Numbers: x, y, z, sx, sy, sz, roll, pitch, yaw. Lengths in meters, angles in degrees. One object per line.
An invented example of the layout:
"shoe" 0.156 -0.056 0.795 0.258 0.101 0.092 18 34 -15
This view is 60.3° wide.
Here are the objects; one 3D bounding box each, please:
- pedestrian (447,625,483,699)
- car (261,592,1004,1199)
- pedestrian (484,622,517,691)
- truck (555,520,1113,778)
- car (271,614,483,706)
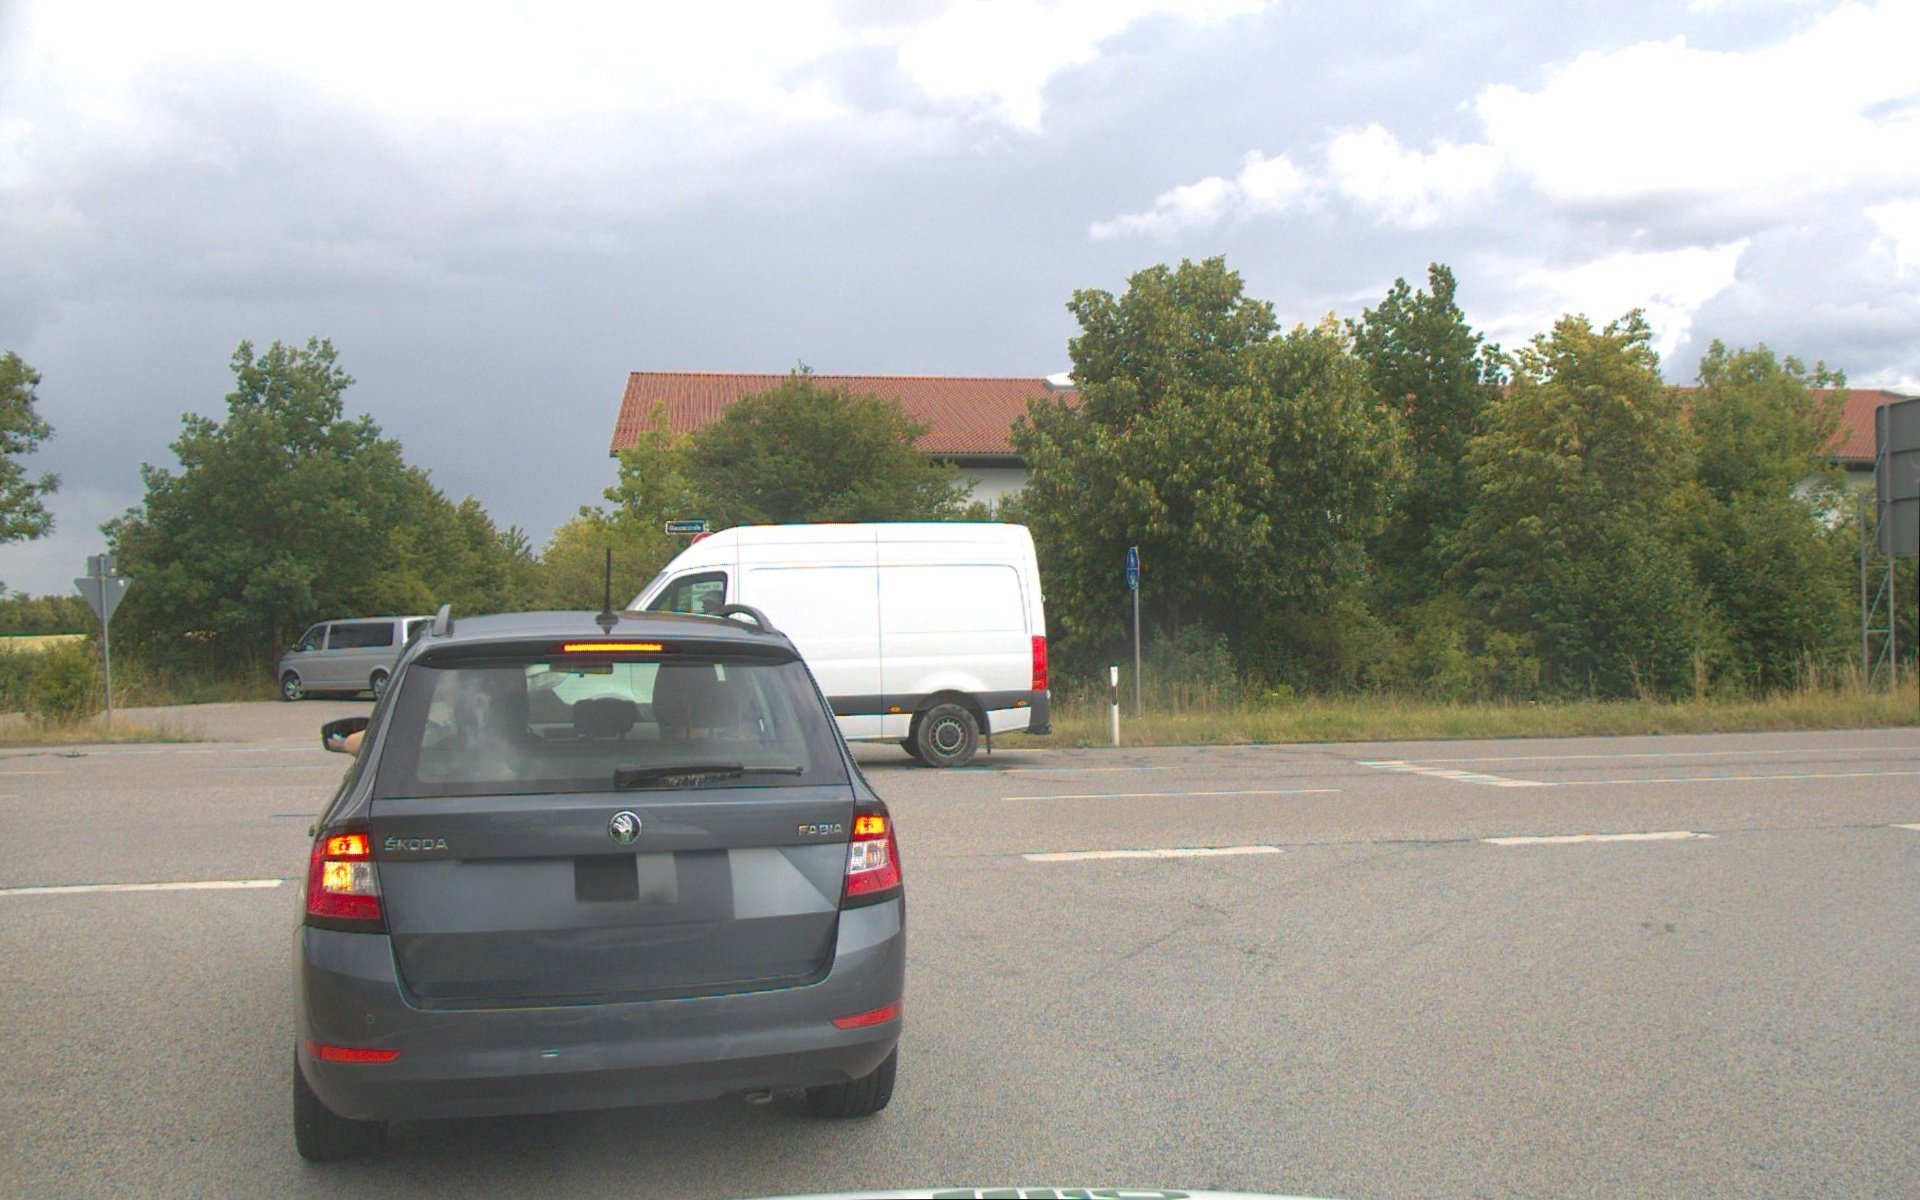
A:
"pedestrian" -12.045 1.493 40.255 0.518 1.756 0.640 -1 1 29
"car" -1.204 0.762 5.507 1.649 1.488 3.690 0 -1 -16
"pedestrian" -11.659 1.440 41.970 0.571 1.712 0.566 -1 0 17
"truck" -1.418 0.502 18.492 5.887 2.621 1.995 -1 -2 -10
"car" -14.328 1.434 40.588 4.807 2.049 2.338 -1 1 30
